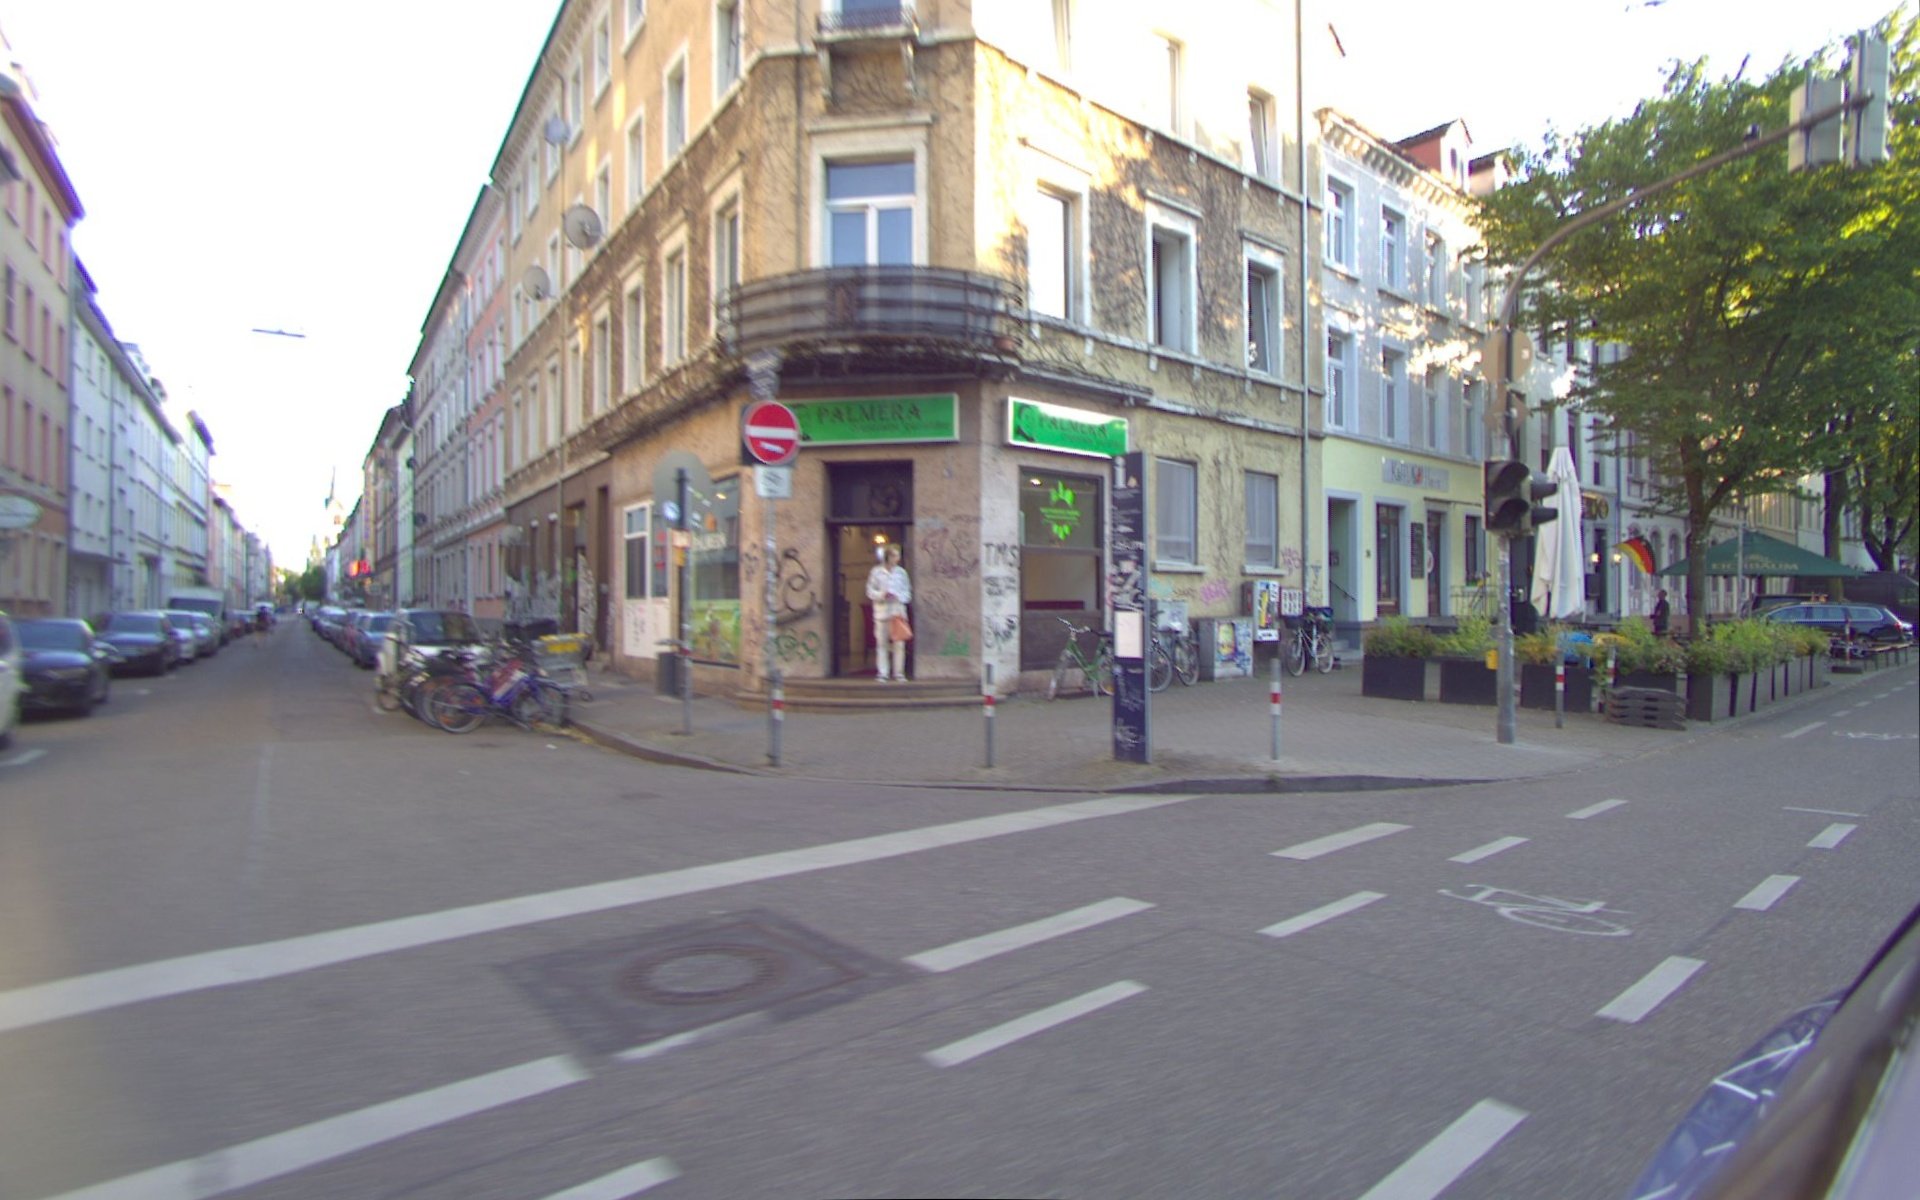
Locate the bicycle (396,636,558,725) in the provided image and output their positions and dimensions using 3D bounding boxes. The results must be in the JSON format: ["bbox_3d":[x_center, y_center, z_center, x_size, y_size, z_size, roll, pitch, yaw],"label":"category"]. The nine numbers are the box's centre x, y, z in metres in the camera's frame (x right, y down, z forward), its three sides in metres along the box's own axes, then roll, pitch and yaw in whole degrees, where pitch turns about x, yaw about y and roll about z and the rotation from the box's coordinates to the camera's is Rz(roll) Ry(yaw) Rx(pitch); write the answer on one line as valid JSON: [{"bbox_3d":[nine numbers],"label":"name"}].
[{"bbox_3d":[-6.475,1.051,13.627,1.855,1.114,0.609,2,-2,-41],"label":"bicycle"}]

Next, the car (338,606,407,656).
[{"bbox_3d":[-19.081,0.986,32.818,1.630,1.520,3.580,3,-2,-34],"label":"car"}]

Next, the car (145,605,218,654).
[{"bbox_3d":[-28.624,1.058,37.327,1.872,1.596,4.061,-5,2,-35],"label":"car"}]

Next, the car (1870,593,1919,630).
[{"bbox_3d":[42.575,0.535,44.224,1.691,1.595,3.992,1,0,-39],"label":"car"}]

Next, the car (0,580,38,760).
[{"bbox_3d":[-10.693,0.738,9.920,1.871,1.864,4.335,-1,-1,-35],"label":"car"}]

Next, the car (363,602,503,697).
[{"bbox_3d":[-9.741,0.825,18.549,1.748,1.537,4.062,2,-1,-35],"label":"car"}]

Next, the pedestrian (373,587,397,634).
[{"bbox_3d":[-31.251,0.574,54.991,0.968,2.508,1.209,0,-1,-37],"label":"pedestrian"}]

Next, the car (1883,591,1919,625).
[{"bbox_3d":[46.355,0.415,47.775,3.974,1.595,1.698,1,0,38],"label":"car"}]

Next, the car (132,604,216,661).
[{"bbox_3d":[-25.321,1.010,32.729,1.872,1.596,4.061,-5,2,-35],"label":"car"}]

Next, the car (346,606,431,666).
[{"bbox_3d":[-15.285,0.927,26.984,1.630,1.462,3.675,3,-2,-34],"label":"car"}]

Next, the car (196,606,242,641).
[{"bbox_3d":[-41.647,1.309,56.932,1.872,1.745,4.061,-5,2,-35],"label":"car"}]

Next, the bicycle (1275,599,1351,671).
[{"bbox_3d":[6.311,0.600,18.052,1.752,1.226,0.470,0,-1,-41],"label":"bicycle"}]

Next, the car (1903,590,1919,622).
[{"bbox_3d":[49.458,0.355,50.001,3.970,1.595,1.700,1,0,35],"label":"car"}]

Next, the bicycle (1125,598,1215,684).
[{"bbox_3d":[3.164,0.595,15.202,1.558,1.226,0.470,0,-1,-41],"label":"bicycle"}]

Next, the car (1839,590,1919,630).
[{"bbox_3d":[39.375,0.413,42.129,1.691,1.619,3.992,1,0,-39],"label":"car"}]

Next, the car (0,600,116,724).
[{"bbox_3d":[-14.049,0.899,15.137,1.873,1.596,4.059,-5,2,-37],"label":"car"}]

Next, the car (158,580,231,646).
[{"bbox_3d":[-32.567,0.534,43.125,2.337,2.624,5.033,0,-1,-37],"label":"car"}]

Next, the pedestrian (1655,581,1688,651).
[{"bbox_3d":[18.298,0.391,26.016,0.633,1.774,0.499,0,1,-36],"label":"pedestrian"}]

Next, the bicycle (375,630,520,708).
[{"bbox_3d":[-7.707,1.020,15.277,1.855,1.114,0.537,2,-2,-41],"label":"bicycle"}]

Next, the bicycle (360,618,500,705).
[{"bbox_3d":[-8.283,0.941,15.898,0.508,1.298,1.858,-1,-2,43],"label":"bicycle"}]

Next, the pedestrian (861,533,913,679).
[{"bbox_3d":[-0.957,0.075,13.288,0.600,1.855,0.560,2,-1,-3],"label":"pedestrian"}]

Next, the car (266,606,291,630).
[{"bbox_3d":[-92.471,2.410,137.249,2.552,3.027,7.209,-4,2,-34],"label":"car"}]

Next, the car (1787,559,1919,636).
[{"bbox_3d":[32.961,-0.107,36.023,5.196,2.653,1.905,1,1,34],"label":"car"}]

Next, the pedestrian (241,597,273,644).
[{"bbox_3d":[-27.181,0.771,39.121,0.968,1.789,1.209,0,-1,-37],"label":"pedestrian"}]

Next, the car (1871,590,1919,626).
[{"bbox_3d":[44.499,0.392,46.302,1.691,1.595,3.992,1,0,-39],"label":"car"}]

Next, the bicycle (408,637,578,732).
[{"bbox_3d":[-5.968,1.047,12.998,1.855,1.114,0.659,2,-2,-41],"label":"bicycle"}]

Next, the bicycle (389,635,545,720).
[{"bbox_3d":[-6.835,1.051,14.099,1.855,1.114,0.509,2,-2,-41],"label":"bicycle"}]

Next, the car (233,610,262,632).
[{"bbox_3d":[-61.528,1.816,87.406,1.872,1.745,4.061,-5,2,-35],"label":"car"}]

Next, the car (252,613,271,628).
[{"bbox_3d":[-88.163,2.571,127.772,1.872,1.745,4.061,-5,2,-35],"label":"car"}]

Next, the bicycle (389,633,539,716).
[{"bbox_3d":[-7.133,1.048,14.625,1.855,1.114,0.509,2,-2,-41],"label":"bicycle"}]

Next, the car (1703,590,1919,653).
[{"bbox_3d":[23.480,0.556,27.833,4.585,1.536,1.796,1,0,24],"label":"car"}]

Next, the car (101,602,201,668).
[{"bbox_3d":[-22.805,0.959,28.681,1.872,1.596,4.061,-5,2,-35],"label":"car"}]

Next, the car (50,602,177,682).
[{"bbox_3d":[-19.956,0.935,24.028,1.872,1.596,4.061,-5,2,-35],"label":"car"}]

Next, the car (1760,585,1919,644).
[{"bbox_3d":[28.081,0.428,32.113,1.692,1.721,3.988,1,0,-41],"label":"car"}]

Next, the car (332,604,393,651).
[{"bbox_3d":[-21.924,1.001,37.097,1.630,1.617,3.580,3,-2,-34],"label":"car"}]

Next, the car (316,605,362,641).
[{"bbox_3d":[-29.597,1.073,48.170,1.630,1.617,3.580,3,-2,-34],"label":"car"}]

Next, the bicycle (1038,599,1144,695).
[{"bbox_3d":[1.801,0.610,13.793,1.558,1.226,0.524,0,-1,-41],"label":"bicycle"}]

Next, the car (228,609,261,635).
[{"bbox_3d":[-53.873,1.624,76.251,1.872,1.745,4.061,-5,2,-35],"label":"car"}]

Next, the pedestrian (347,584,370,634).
[{"bbox_3d":[-32.892,0.495,55.352,0.968,2.724,1.209,0,-1,-37],"label":"pedestrian"}]
